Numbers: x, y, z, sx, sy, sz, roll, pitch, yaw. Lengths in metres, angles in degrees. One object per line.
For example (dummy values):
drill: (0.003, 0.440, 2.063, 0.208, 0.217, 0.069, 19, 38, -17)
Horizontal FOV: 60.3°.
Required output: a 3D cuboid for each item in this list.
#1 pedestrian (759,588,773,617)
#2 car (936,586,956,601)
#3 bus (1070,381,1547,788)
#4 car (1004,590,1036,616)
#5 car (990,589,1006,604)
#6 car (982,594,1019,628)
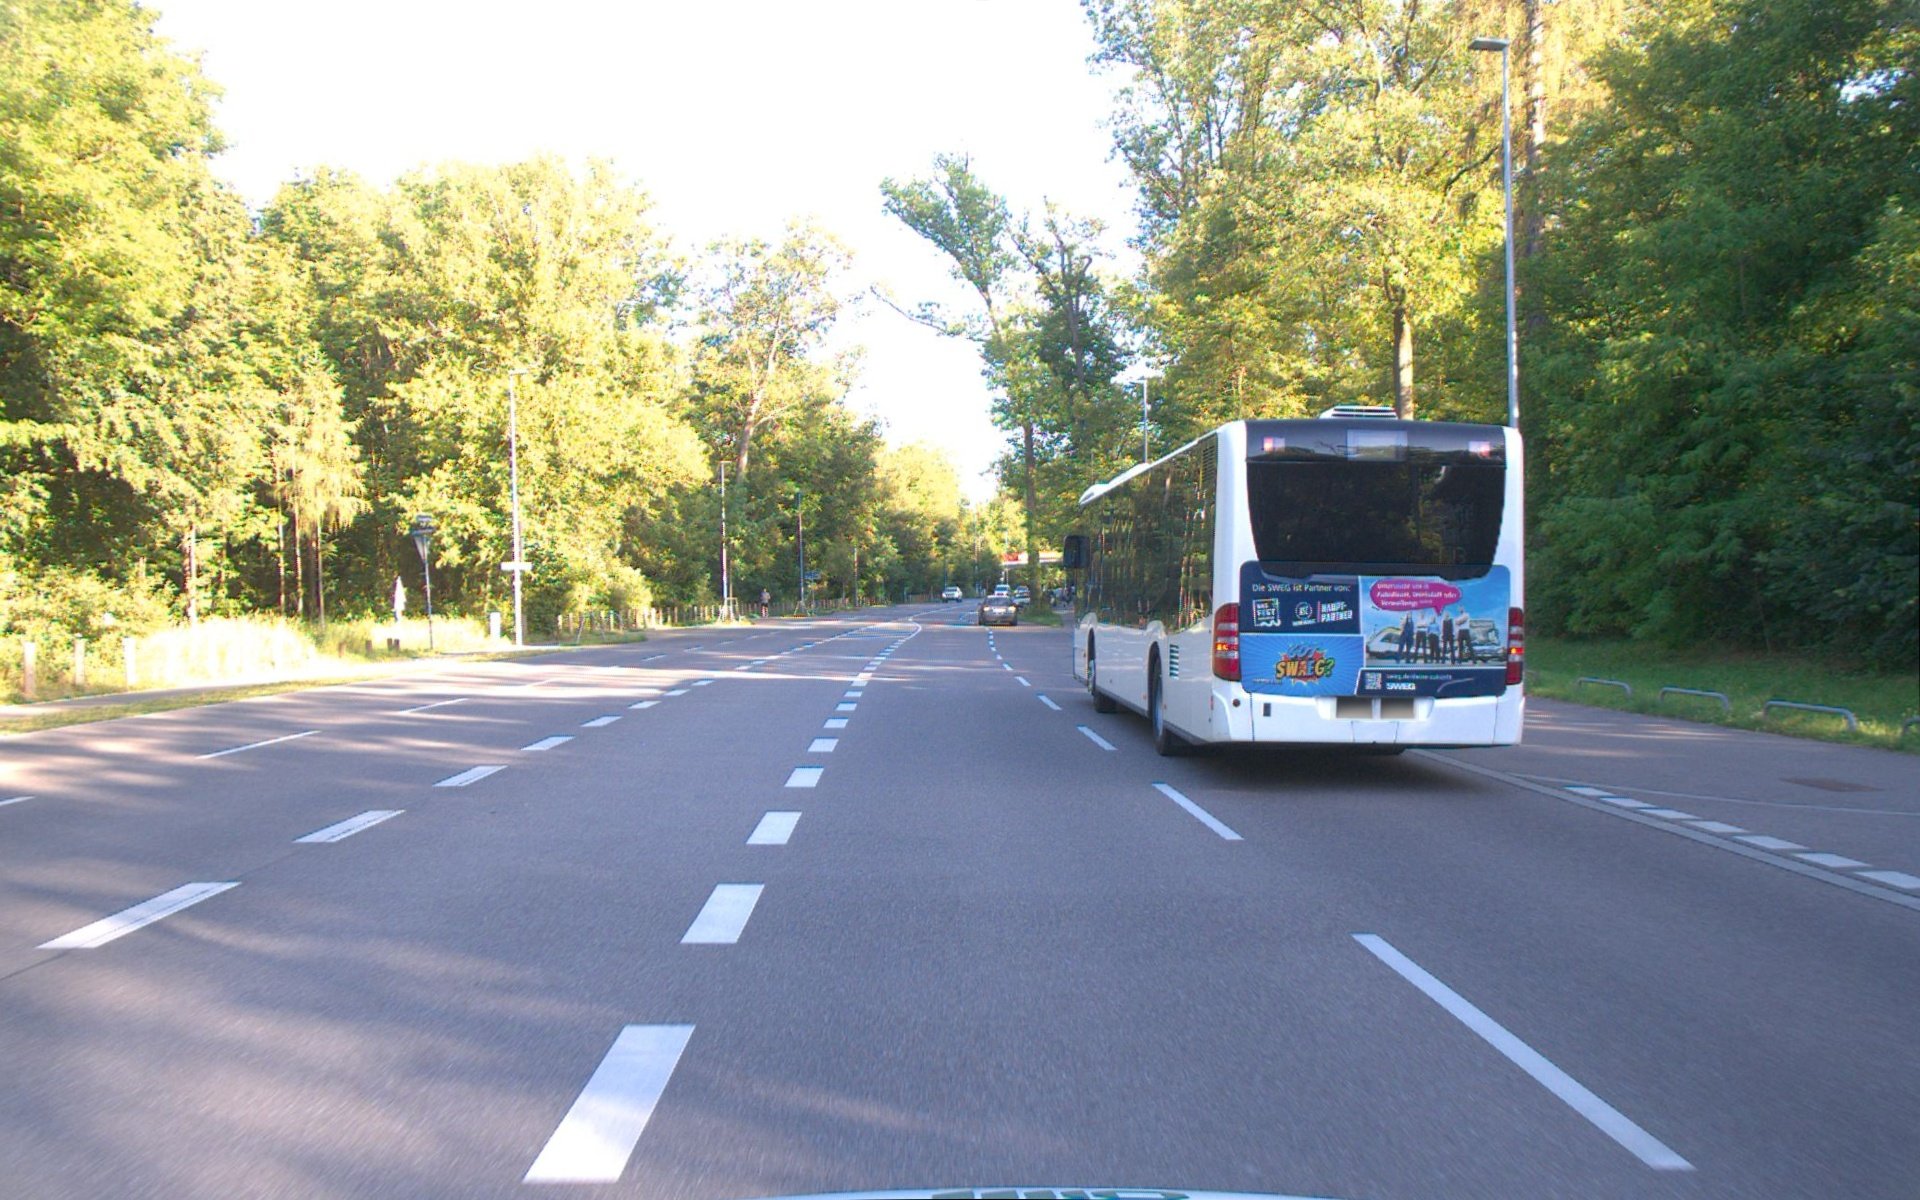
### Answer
pedestrian: (-12.235, 0.145, 104.305, 0.763, 1.844, 0.770, 0, 0, -1)
car: (-1.517, -0.659, 177.885, 1.824, 1.564, 4.133, 0, 0, 3)
bus: (3.065, -0.094, 18.647, 2.635, 3.096, 12.038, 0, 0, -1)
car: (3.996, 0.192, 109.265, 1.597, 1.688, 4.135, 0, 0, 9)
car: (4.585, -0.416, 199.943, 1.824, 1.759, 4.000, -1, 0, 0)
car: (1.939, 0.510, 78.365, 1.597, 1.574, 4.133, 0, 0, 3)
